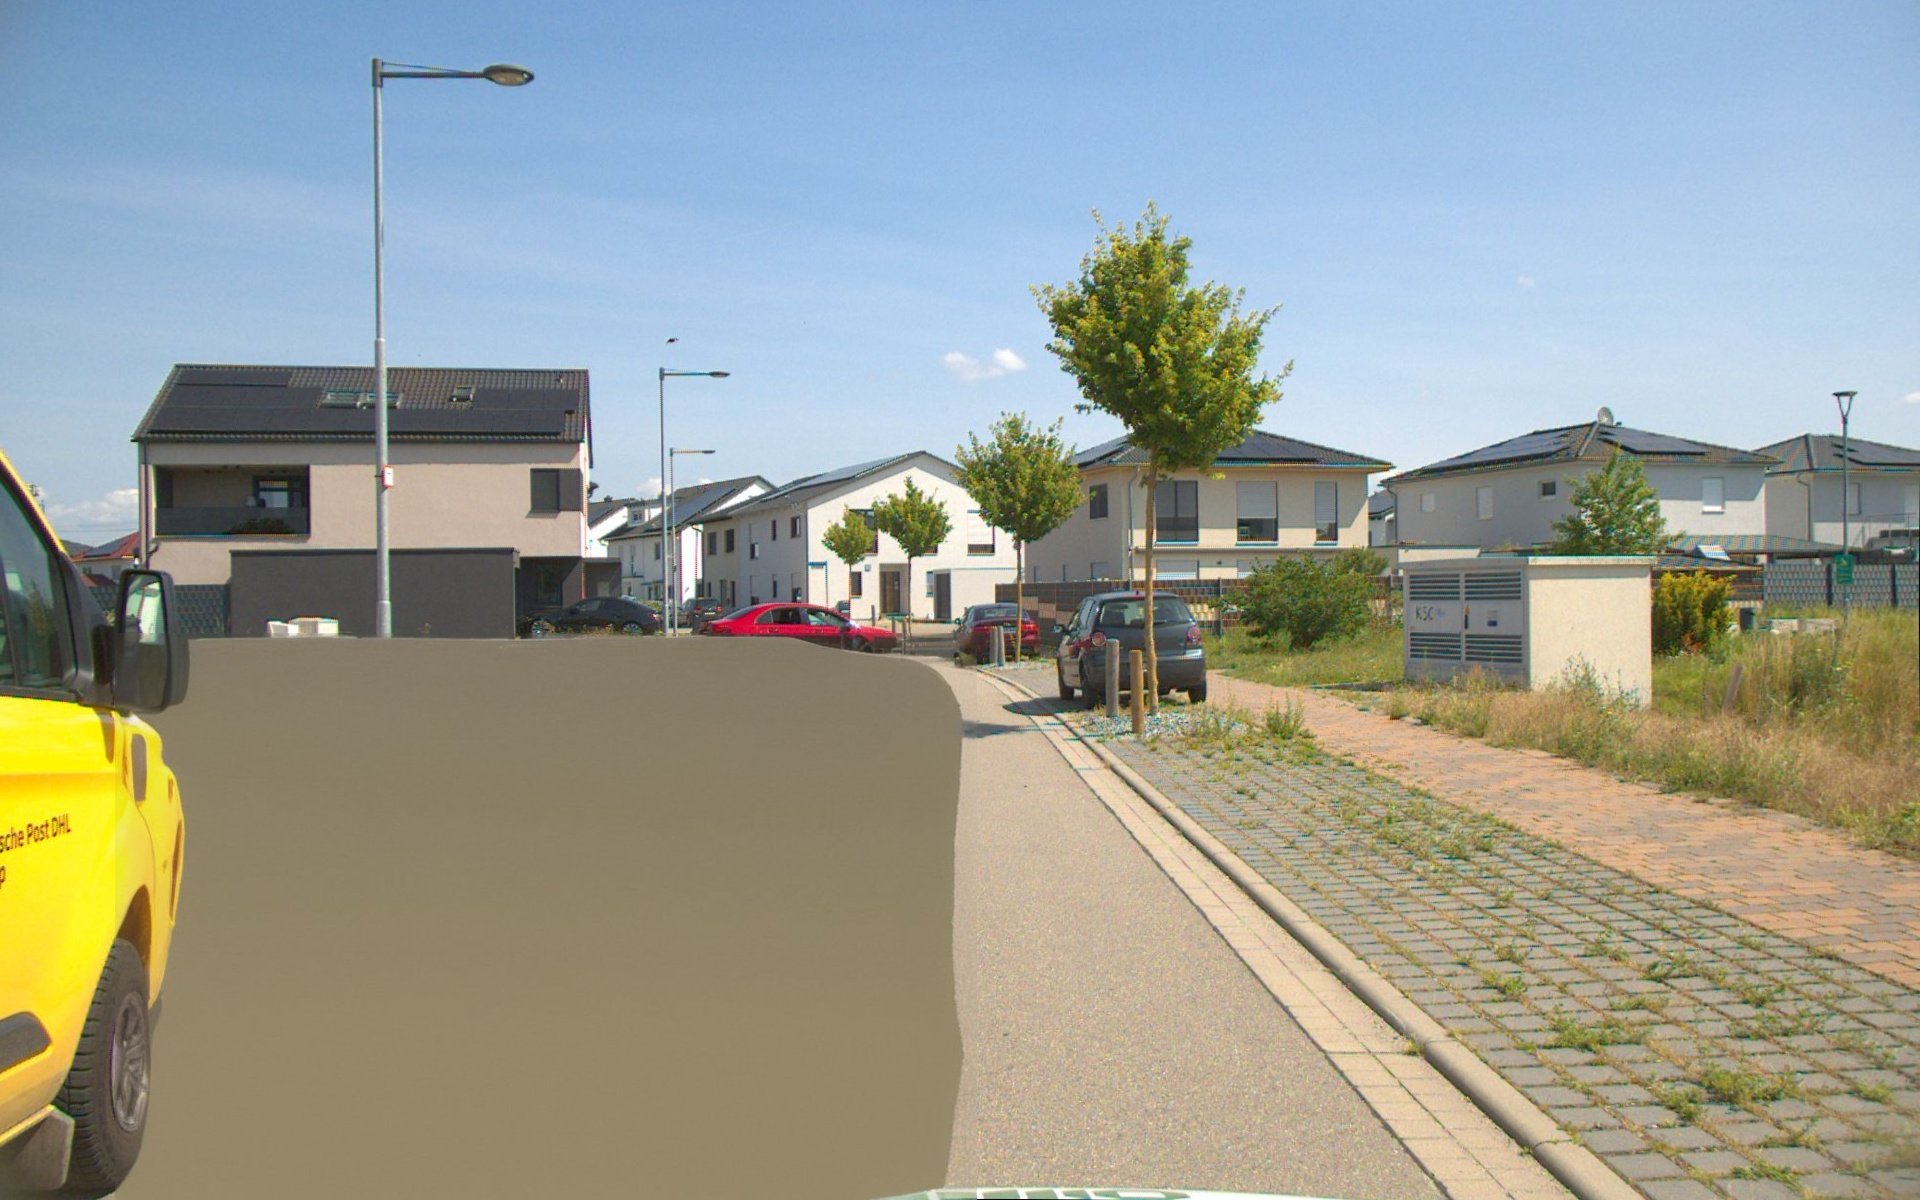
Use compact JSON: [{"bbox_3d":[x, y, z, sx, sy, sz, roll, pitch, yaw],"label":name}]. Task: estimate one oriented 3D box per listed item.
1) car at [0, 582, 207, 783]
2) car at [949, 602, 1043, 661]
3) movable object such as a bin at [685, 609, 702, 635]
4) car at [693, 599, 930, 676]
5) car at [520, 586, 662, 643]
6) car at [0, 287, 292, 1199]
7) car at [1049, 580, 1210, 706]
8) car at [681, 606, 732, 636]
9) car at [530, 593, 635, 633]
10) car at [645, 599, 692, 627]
[{"bbox_3d":[-8.320,0.598,12.742,4.320,1.478,1.742,0,0,-15],"label":"car"},{"bbox_3d":[0.841,0.745,41.379,1.721,1.387,4.568,0,0,-7],"label":"car"},{"bbox_3d":[-10.178,0.834,63.173,0.524,0.952,0.526,1,0,-1],"label":"movable object such as a bin"},{"bbox_3d":[-2.967,0.725,33.184,4.443,1.463,1.756,0,0,-23],"label":"car"},{"bbox_3d":[-11.720,0.464,52.747,4.296,1.660,1.766,2,-1,-11],"label":"car"},{"bbox_3d":[-2.735,0.411,2.563,1.847,2.049,4.835,0,0,-6],"label":"car"},{"bbox_3d":[2.214,0.534,22.469,1.566,1.501,3.672,-3,0,-3],"label":"car"},{"bbox_3d":[-12.768,1.047,83.164,1.702,1.447,3.974,-2,0,-21],"label":"car"},{"bbox_3d":[-14.858,0.509,65.240,3.913,1.512,1.751,0,0,-9],"label":"car"},{"bbox_3d":[-16.273,0.703,92.205,1.655,1.489,3.915,-2,0,-24],"label":"car"}]
